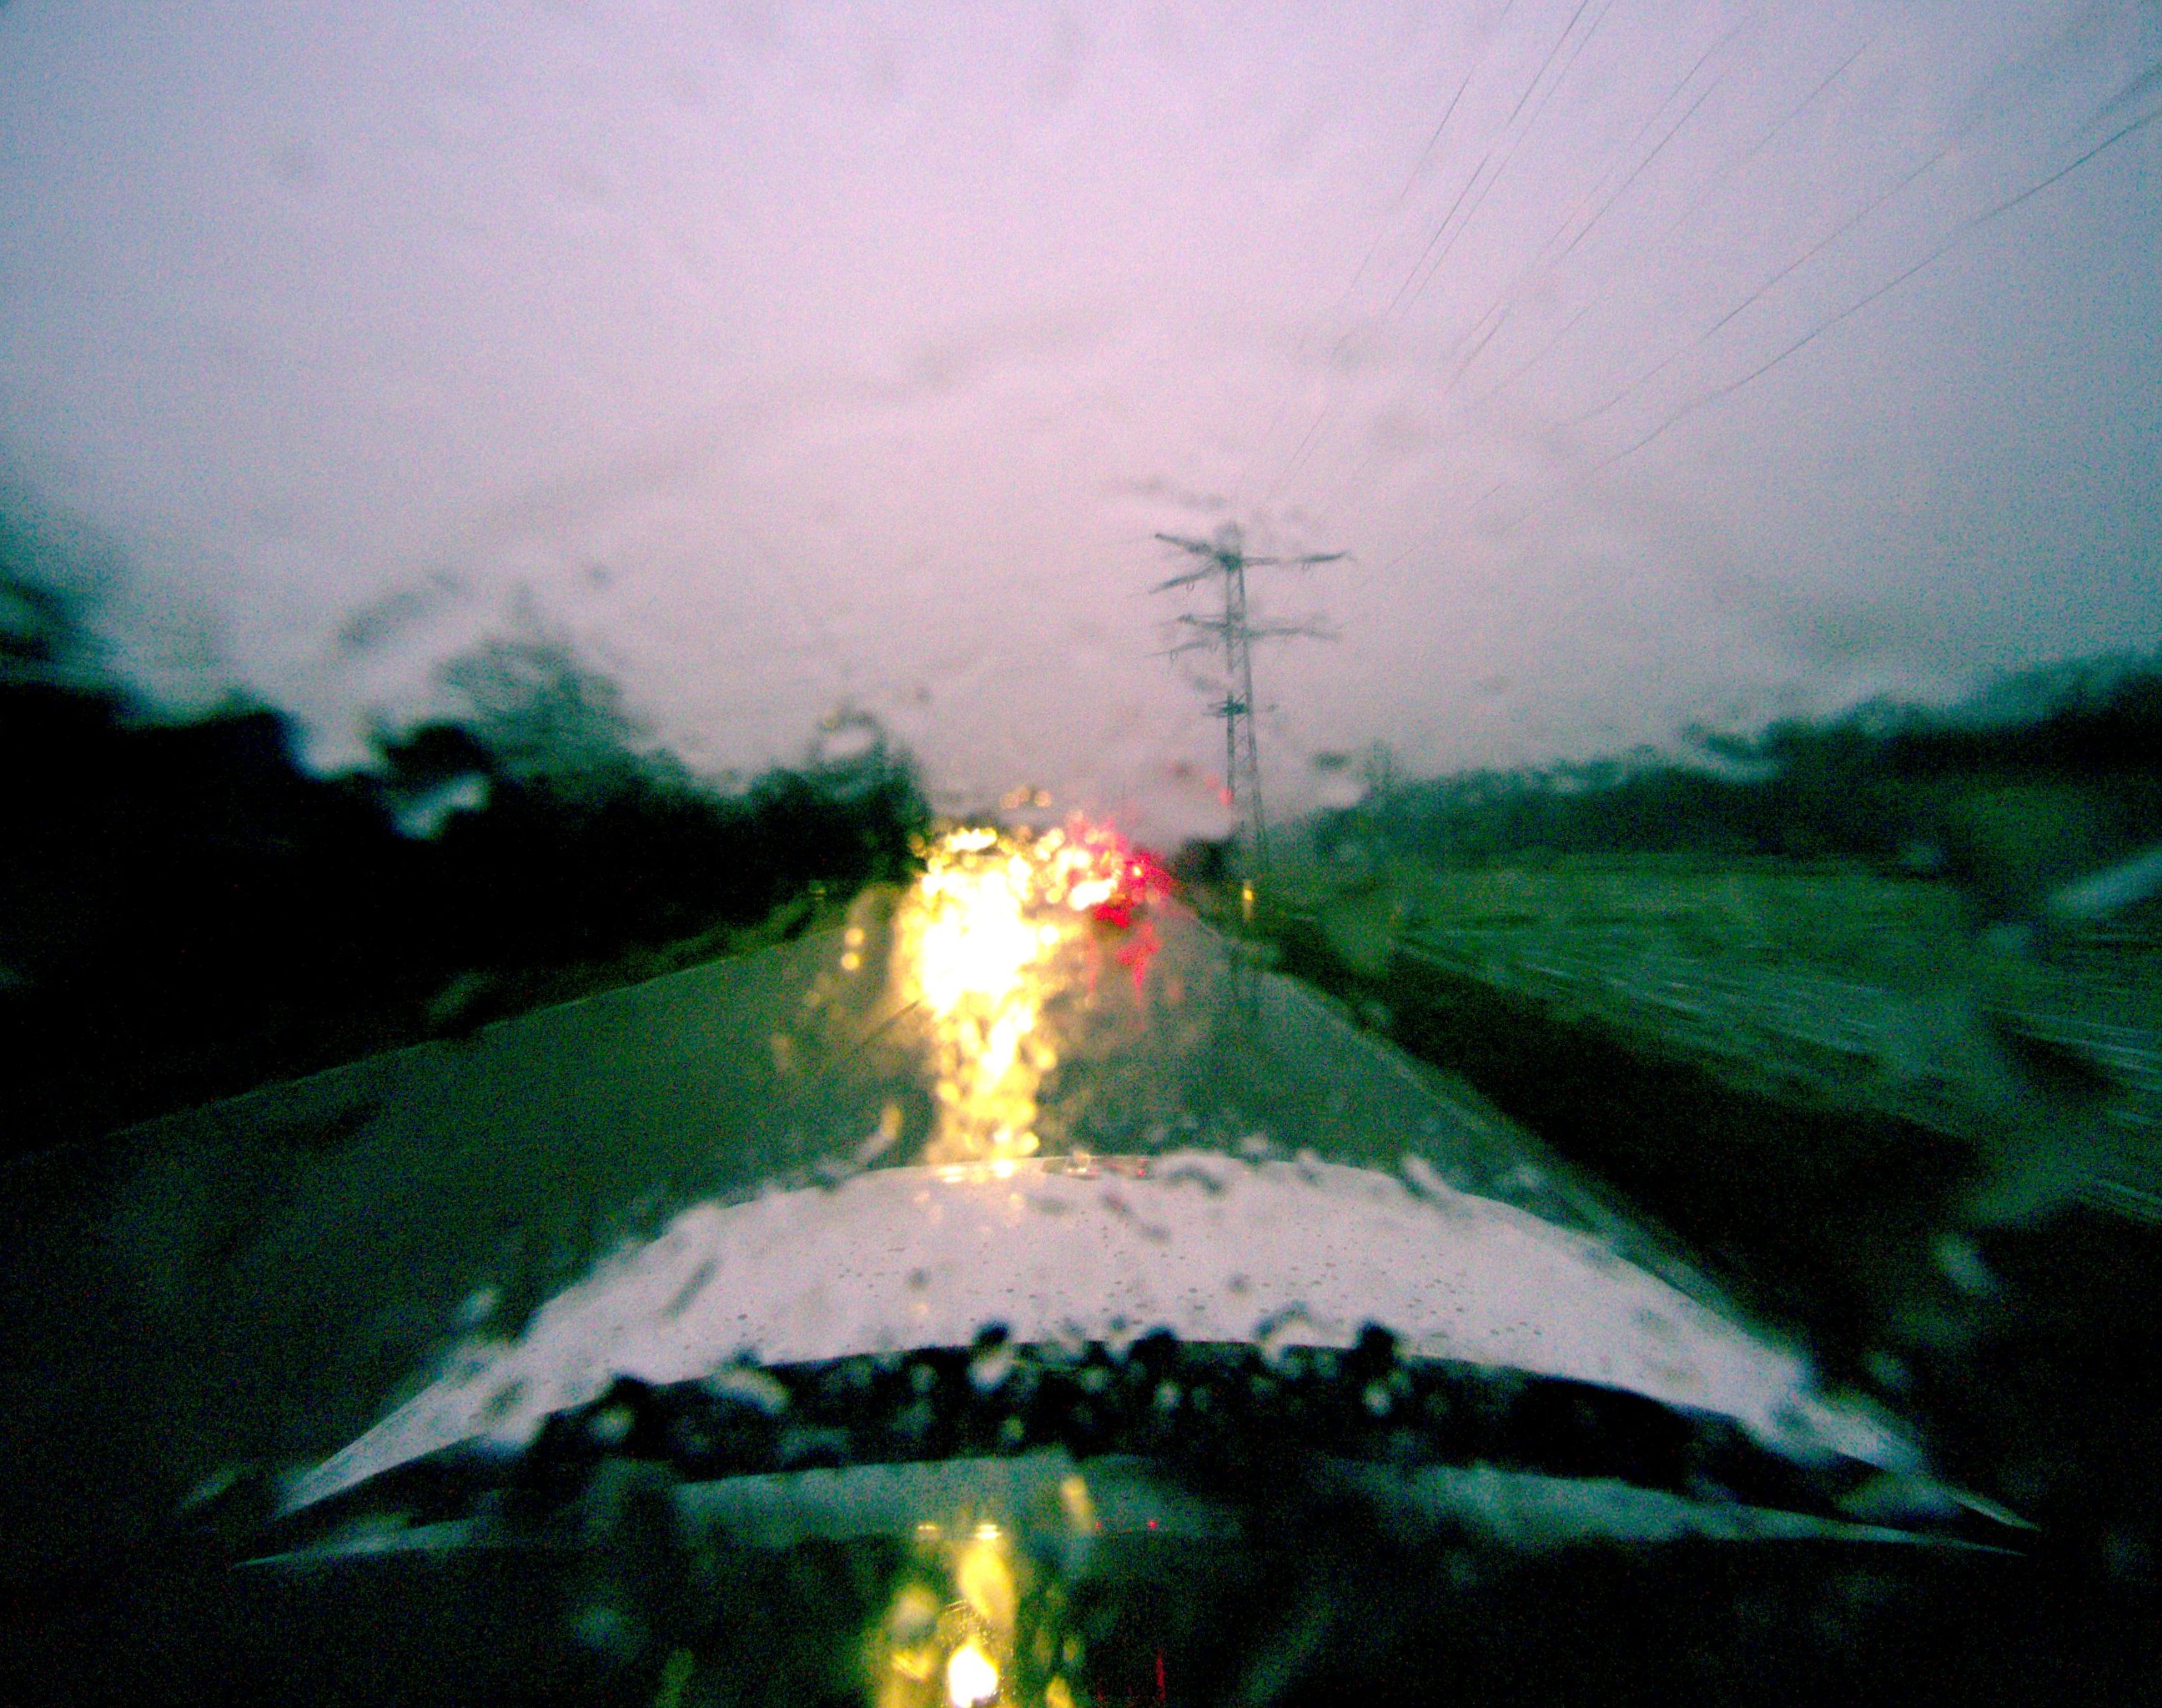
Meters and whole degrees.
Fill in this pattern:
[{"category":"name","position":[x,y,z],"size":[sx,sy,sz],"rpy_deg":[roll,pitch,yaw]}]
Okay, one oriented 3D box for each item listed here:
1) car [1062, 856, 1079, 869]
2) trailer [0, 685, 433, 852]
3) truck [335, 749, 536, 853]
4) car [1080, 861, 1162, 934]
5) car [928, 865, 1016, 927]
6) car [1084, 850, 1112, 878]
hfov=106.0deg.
[{"category":"car","position":[-1.271,1.009,97.123],"size":[1.821,1.409,4.001],"rpy_deg":[0,-2,2]},{"category":"trailer","position":[-25.370,-1.959,24.131],"size":[2.988,3.634,11.389],"rpy_deg":[-1,0,1]},{"category":"truck","position":[-25.176,-1.913,32.245],"size":[2.981,3.632,6.068],"rpy_deg":[-1,0,1]},{"category":"car","position":[1.046,1.084,22.123],"size":[1.986,1.752,4.001],"rpy_deg":[-1,0,1]},{"category":"car","position":[-3.058,1.146,23.771],"size":[1.801,1.536,4.409],"rpy_deg":[1,0,2]},{"category":"car","position":[1.281,0.750,61.399],"size":[1.986,2.013,4.002],"rpy_deg":[-2,0,2]}]
